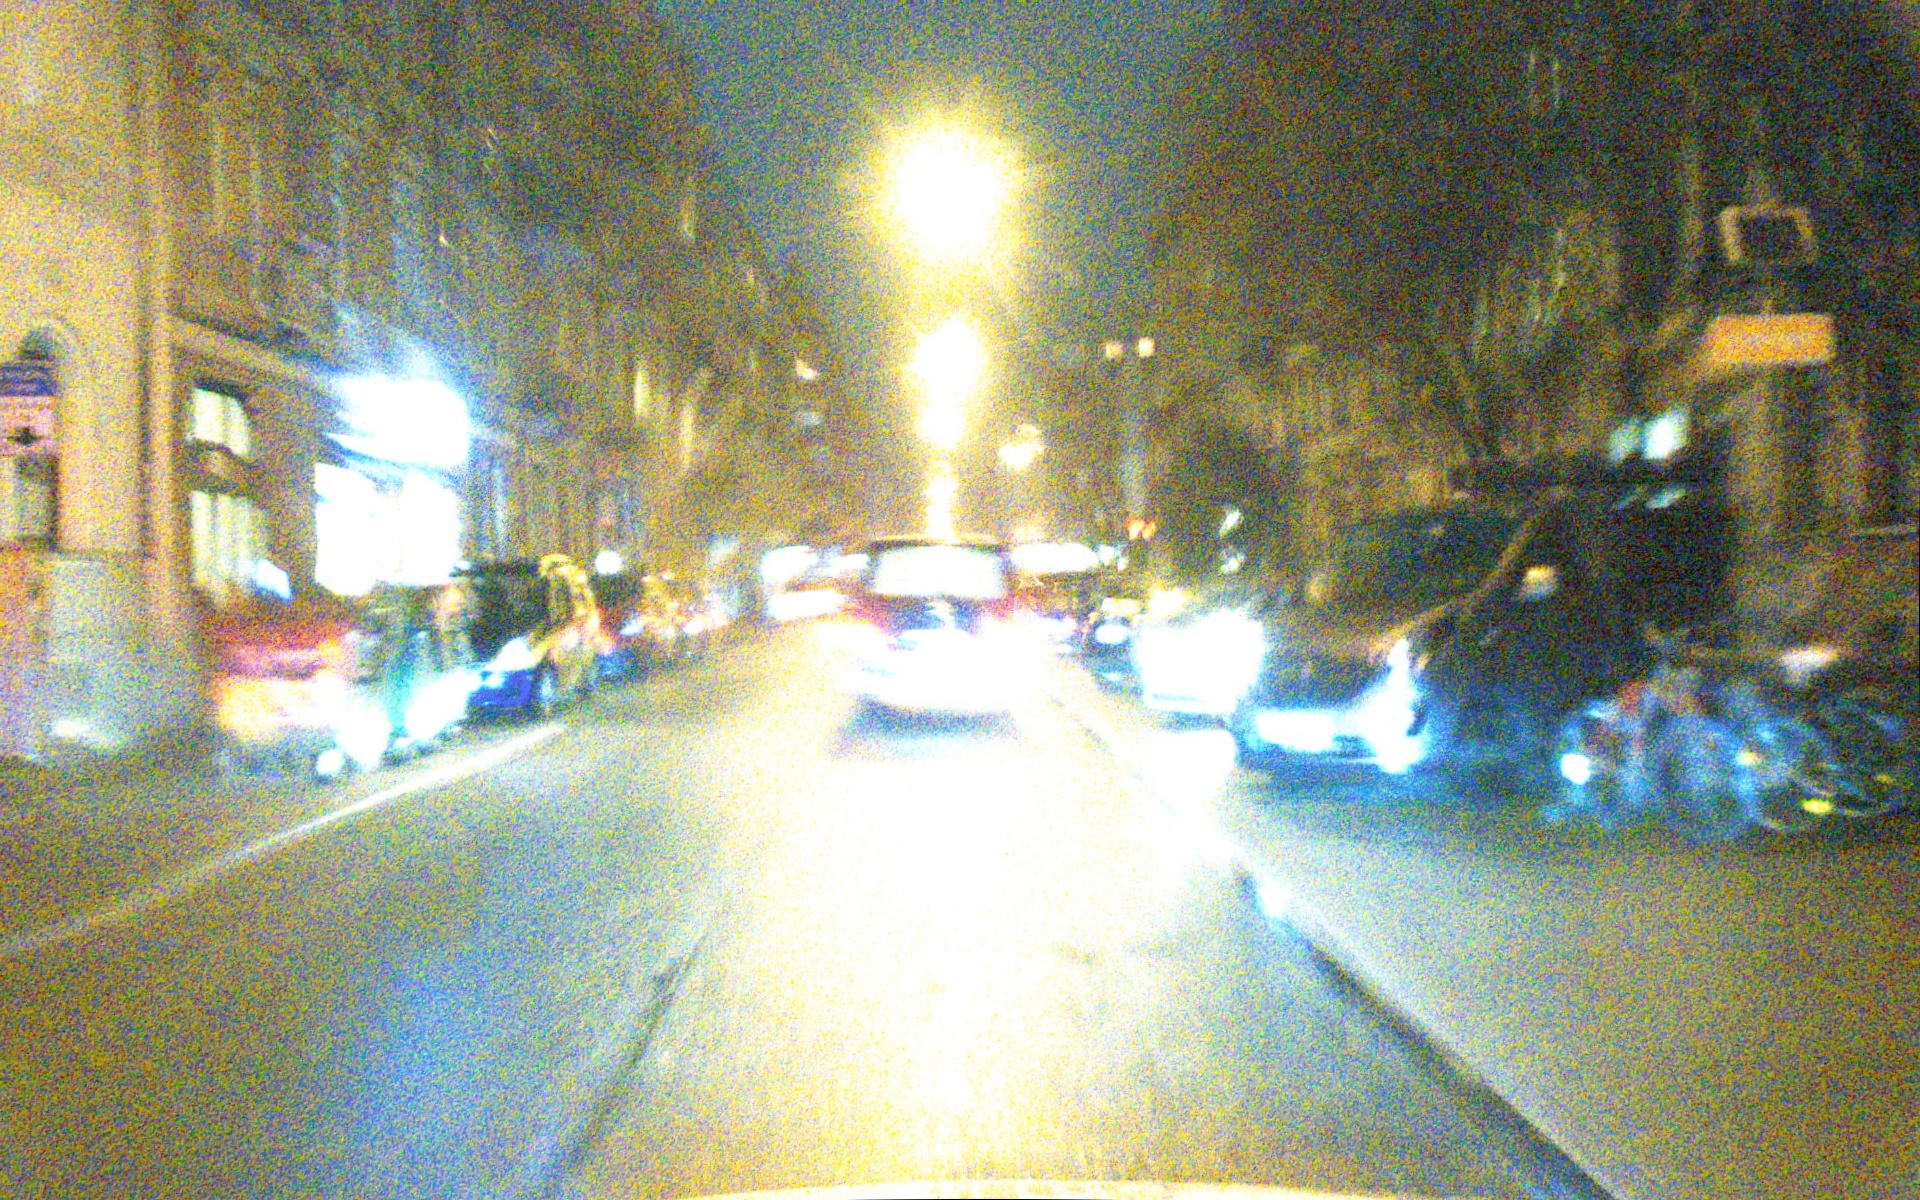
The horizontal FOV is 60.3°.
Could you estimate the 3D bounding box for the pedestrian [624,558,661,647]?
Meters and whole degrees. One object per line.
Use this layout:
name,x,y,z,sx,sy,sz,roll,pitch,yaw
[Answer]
pedestrian,-6.795,0.053,35.441,0.579,1.852,0.794,2,0,-1

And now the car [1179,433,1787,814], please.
car,3.960,0.095,12.143,4.676,2.287,1.921,-2,0,-38

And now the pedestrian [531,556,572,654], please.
pedestrian,-7.599,0.093,30.775,0.626,1.812,0.549,0,0,-1

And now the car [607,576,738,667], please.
car,-5.033,0.322,29.418,1.652,1.481,4.314,1,1,-1

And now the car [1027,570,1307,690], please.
car,3.083,0.392,24.366,3.956,1.579,1.781,-2,0,-36

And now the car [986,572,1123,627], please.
car,2.953,-0.017,51.668,3.939,1.518,1.720,-3,0,-27

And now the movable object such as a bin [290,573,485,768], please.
movable object such as a bin,-4.595,0.541,13.358,1.141,1.485,1.107,1,0,1

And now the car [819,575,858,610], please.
car,-5.723,-0.347,78.044,1.777,1.584,4.073,0,0,-5

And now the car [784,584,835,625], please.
car,-5.659,0.144,62.417,1.554,1.508,3.793,1,0,0

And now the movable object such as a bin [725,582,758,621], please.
movable object such as a bin,-8.173,0.053,61.888,1.026,1.423,1.158,2,0,1

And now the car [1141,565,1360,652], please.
car,5.402,0.131,30.616,3.953,1.477,1.668,-2,0,-35

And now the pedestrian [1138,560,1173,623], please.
pedestrian,5.972,-0.266,50.615,0.851,1.888,0.992,-2,1,-4

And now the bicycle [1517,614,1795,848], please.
bicycle,4.003,0.699,9.687,0.573,1.192,1.859,0,1,-11

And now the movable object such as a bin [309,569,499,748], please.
movable object such as a bin,-4.868,0.490,14.585,1.236,1.485,1.151,1,0,1

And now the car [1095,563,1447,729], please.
car,3.368,0.438,17.763,3.605,1.569,1.543,-2,0,-31

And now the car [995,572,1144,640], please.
car,2.786,0.160,41.754,3.615,1.608,1.571,2,0,-38

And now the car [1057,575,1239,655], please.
car,3.971,0.284,34.812,3.602,1.608,1.577,0,1,-30

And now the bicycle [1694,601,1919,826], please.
bicycle,5.233,0.614,9.920,0.573,1.192,1.859,0,1,-11

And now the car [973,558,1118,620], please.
car,2.983,-0.408,57.435,4.738,2.084,2.044,-1,1,-32

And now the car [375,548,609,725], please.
car,-4.983,0.343,18.072,1.571,1.736,3.720,0,0,-1

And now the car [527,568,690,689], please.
car,-4.988,0.345,23.929,1.571,1.579,4.024,1,1,-1

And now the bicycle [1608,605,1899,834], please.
bicycle,4.624,0.642,9.794,0.573,1.192,1.859,0,1,-11

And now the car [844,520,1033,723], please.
car,-0.252,0.232,19.068,1.953,2.086,3.999,0,0,-1

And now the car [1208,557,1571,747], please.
car,4.068,0.417,15.488,3.365,1.569,1.556,-2,0,-38

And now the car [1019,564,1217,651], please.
car,3.022,0.116,31.294,3.647,1.486,1.582,-2,1,-38

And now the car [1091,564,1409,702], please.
car,3.821,0.373,21.518,3.961,1.579,1.972,-2,0,-39

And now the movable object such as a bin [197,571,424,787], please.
movable object such as a bin,-4.726,0.549,12.127,1.183,1.485,1.107,1,0,1
